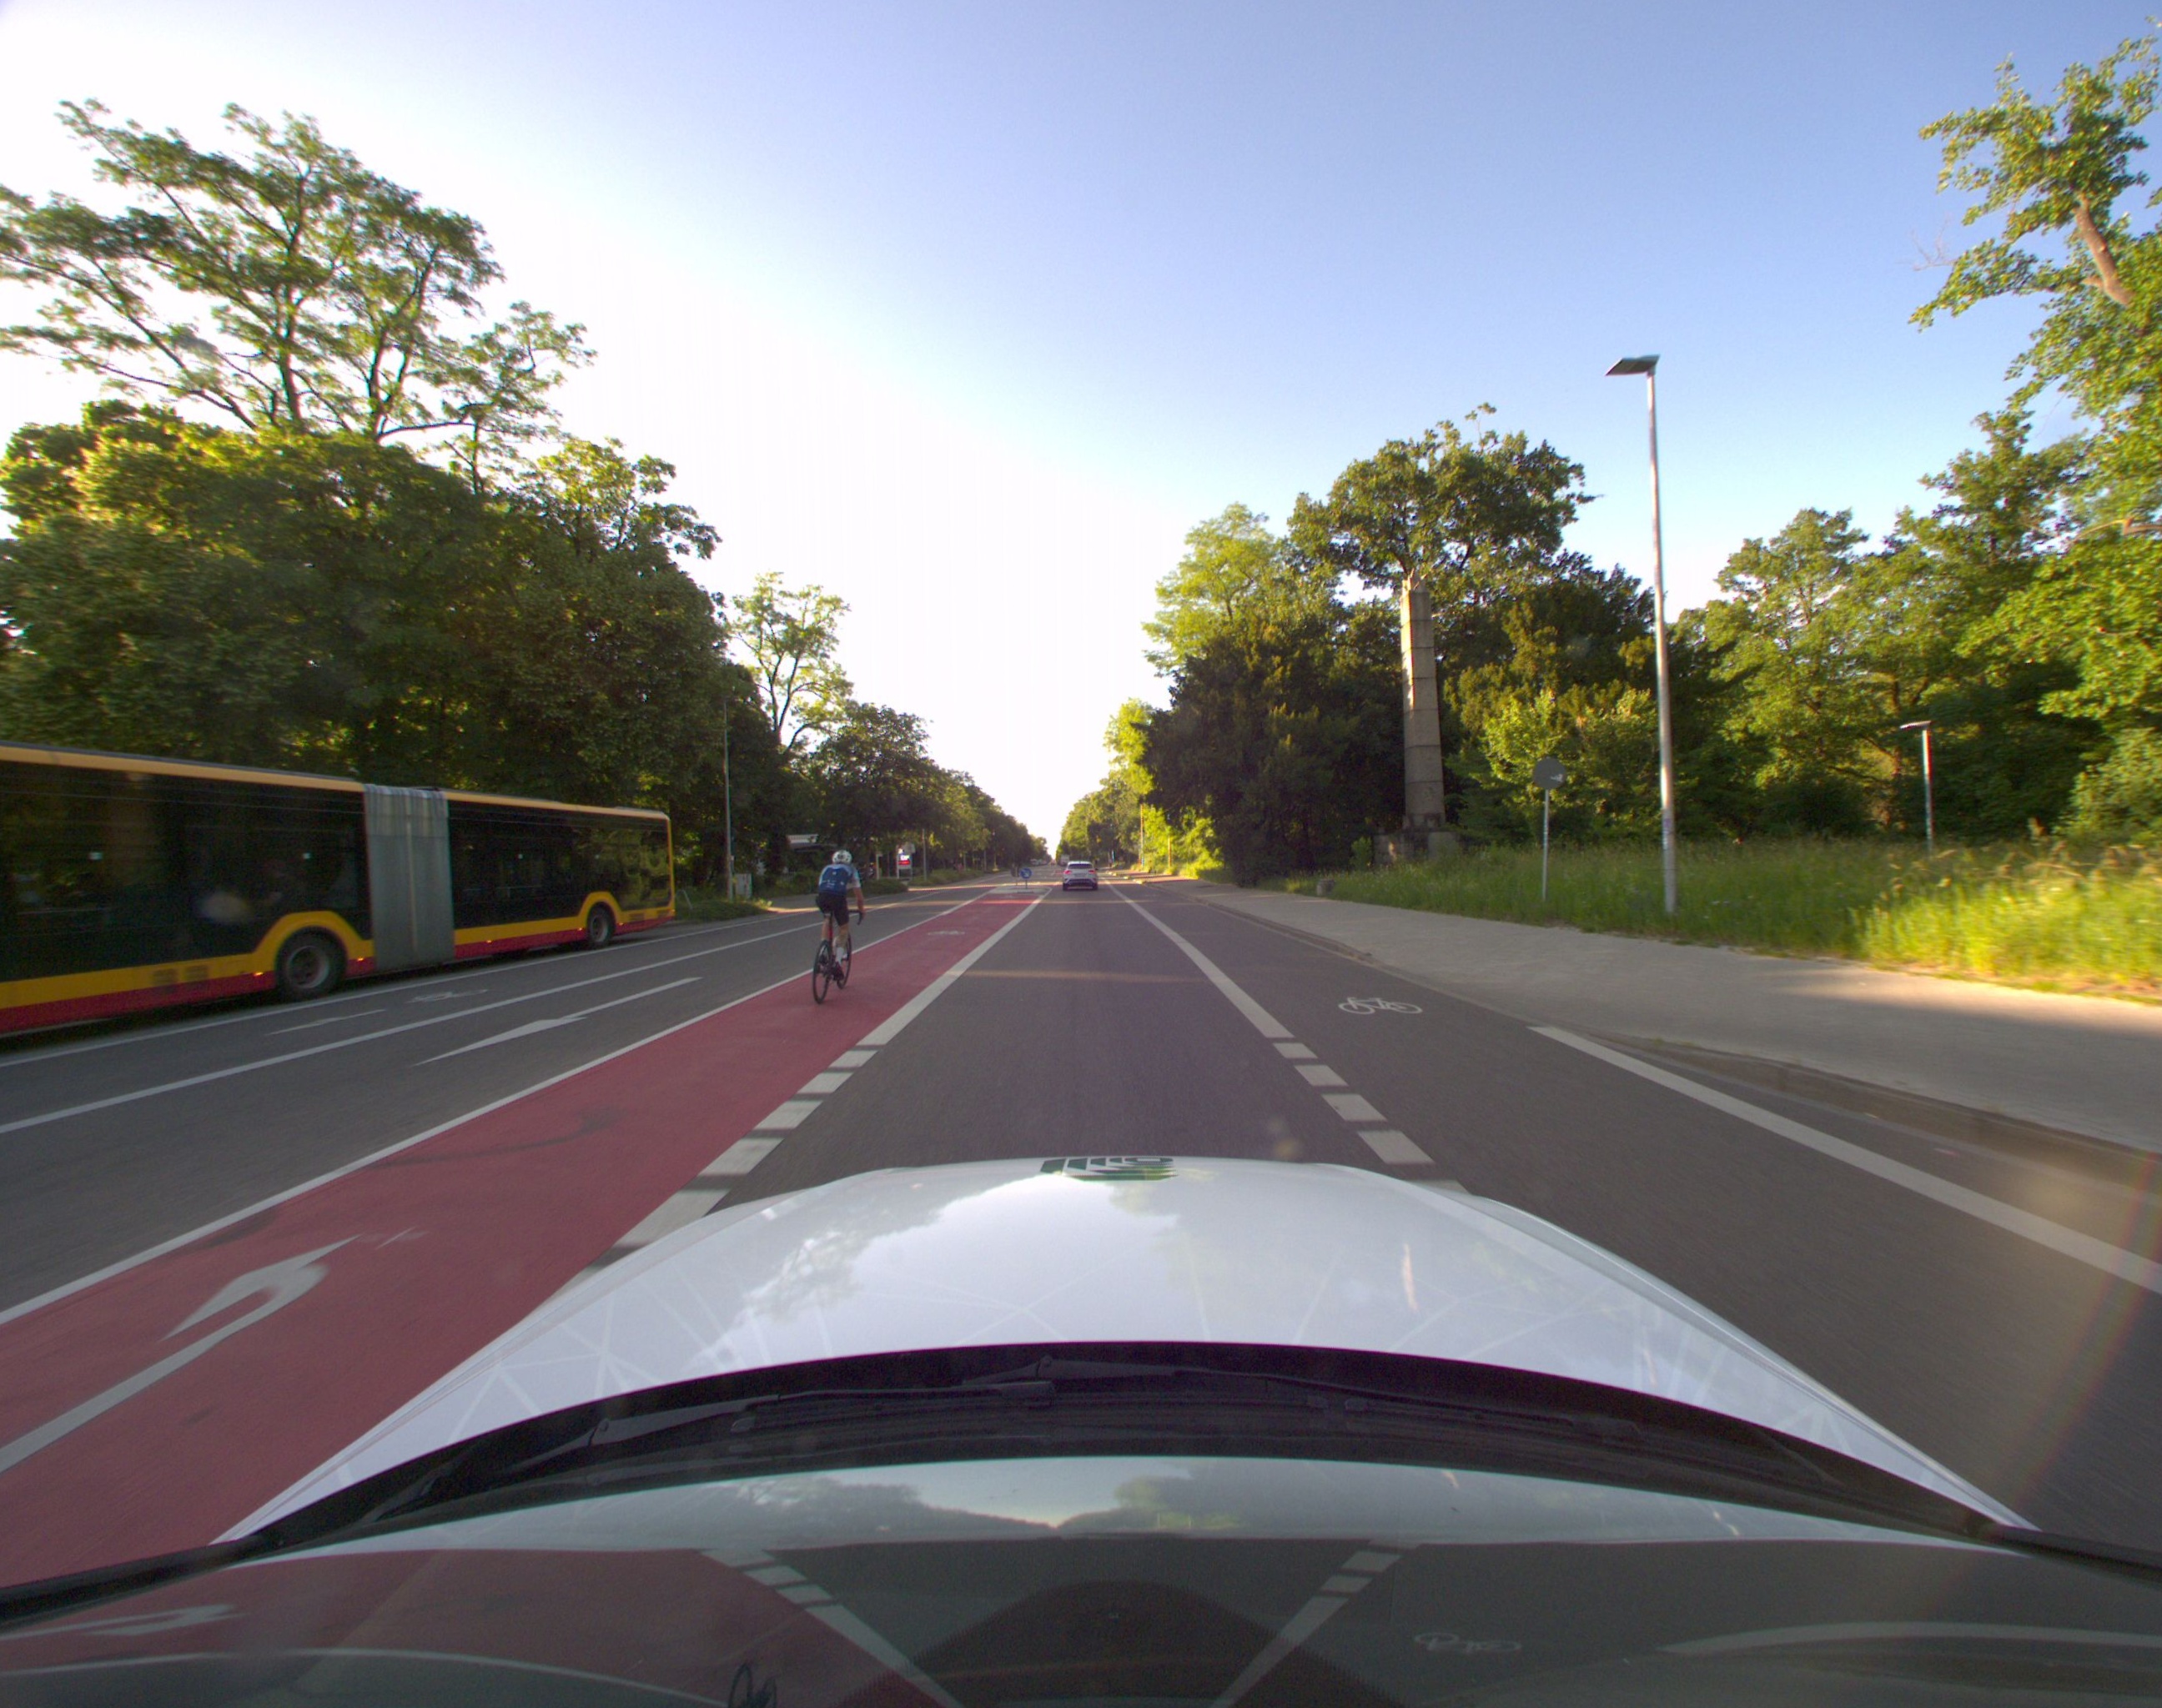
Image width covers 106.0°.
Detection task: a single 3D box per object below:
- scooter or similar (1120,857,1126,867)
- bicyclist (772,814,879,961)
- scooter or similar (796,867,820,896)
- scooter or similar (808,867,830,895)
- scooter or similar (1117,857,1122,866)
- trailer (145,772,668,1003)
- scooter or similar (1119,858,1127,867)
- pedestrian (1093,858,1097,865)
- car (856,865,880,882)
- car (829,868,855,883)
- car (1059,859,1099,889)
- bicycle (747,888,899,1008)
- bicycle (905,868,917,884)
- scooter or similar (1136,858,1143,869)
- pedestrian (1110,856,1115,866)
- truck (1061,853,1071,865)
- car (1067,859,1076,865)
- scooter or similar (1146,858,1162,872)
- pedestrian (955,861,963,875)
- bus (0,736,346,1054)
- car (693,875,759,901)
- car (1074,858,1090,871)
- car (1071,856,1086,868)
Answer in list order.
[{"bbox_3d":[6.027,1.150,117.901,0.680,1.423,1.680,-2,0,-2],"label":"scooter or similar"},{"bbox_3d":[-2.859,0.367,9.193,0.856,1.567,0.882,-1,0,4],"label":"bicyclist"},{"bbox_3d":[-16.715,1.676,49.944,0.825,1.717,1.740,-3,0,-1],"label":"scooter or similar"},{"bbox_3d":[-16.687,1.697,51.887,0.825,1.717,1.740,-3,0,-1],"label":"scooter or similar"},{"bbox_3d":[6.014,1.196,126.914,0.680,1.423,1.681,-2,0,-1],"label":"scooter or similar"},{"bbox_3d":[-12.238,0.529,16.612,2.845,3.355,9.361,0,-1,0],"label":"trailer"},{"bbox_3d":[6.165,1.215,119.758,0.468,1.306,1.469,-2,-1,-23],"label":"scooter or similar"},{"bbox_3d":[3.130,1.723,184.357,0.696,1.653,0.875,-3,-1,-2],"label":"pedestrian"},{"bbox_3d":[-23.449,2.144,89.828,1.708,1.691,4.445,-3,0,-5],"label":"car"},{"bbox_3d":[-27.654,2.480,94.323,1.706,1.498,4.574,-3,0,-2],"label":"car"},{"bbox_3d":[-0.142,1.019,42.746,1.758,1.459,3.811,-1,-1,-5],"label":"car"},{"bbox_3d":[-2.829,0.990,9.237,0.887,1.095,2.138,-1,0,4],"label":"bicycle"},{"bbox_3d":[-13.729,1.773,65.786,0.653,1.250,2.154,-3,0,-6],"label":"bicycle"},{"bbox_3d":[6.629,1.044,92.155,0.531,1.250,1.540,-2,0,-1],"label":"scooter or similar"},{"bbox_3d":[4.910,1.046,127.820,0.752,1.563,0.803,-3,-1,4],"label":"pedestrian"},{"bbox_3d":[-4.847,1.675,259.411,2.793,3.570,8.026,-1,0,-3],"label":"truck"},{"bbox_3d":[-2.592,2.165,215.724,1.990,1.327,3.993,-3,0,-5],"label":"car"},{"bbox_3d":[6.652,0.999,74.304,1.550,1.250,0.528,-2,-1,-45],"label":"scooter or similar"},{"bbox_3d":[-18.473,2.077,123.241,0.710,2.013,0.751,-3,-1,28],"label":"pedestrian"},{"bbox_3d":[-12.276,0.467,7.669,2.832,3.196,8.597,-3,0,0],"label":"bus"},{"bbox_3d":[-22.373,2.136,51.417,1.542,1.400,3.513,-5,-2,30],"label":"car"},{"bbox_3d":[0.144,1.328,106.065,1.988,1.519,3.998,-3,0,-1],"label":"car"},{"bbox_3d":[-0.313,1.044,104.872,1.670,1.417,3.575,-3,0,2],"label":"car"}]
